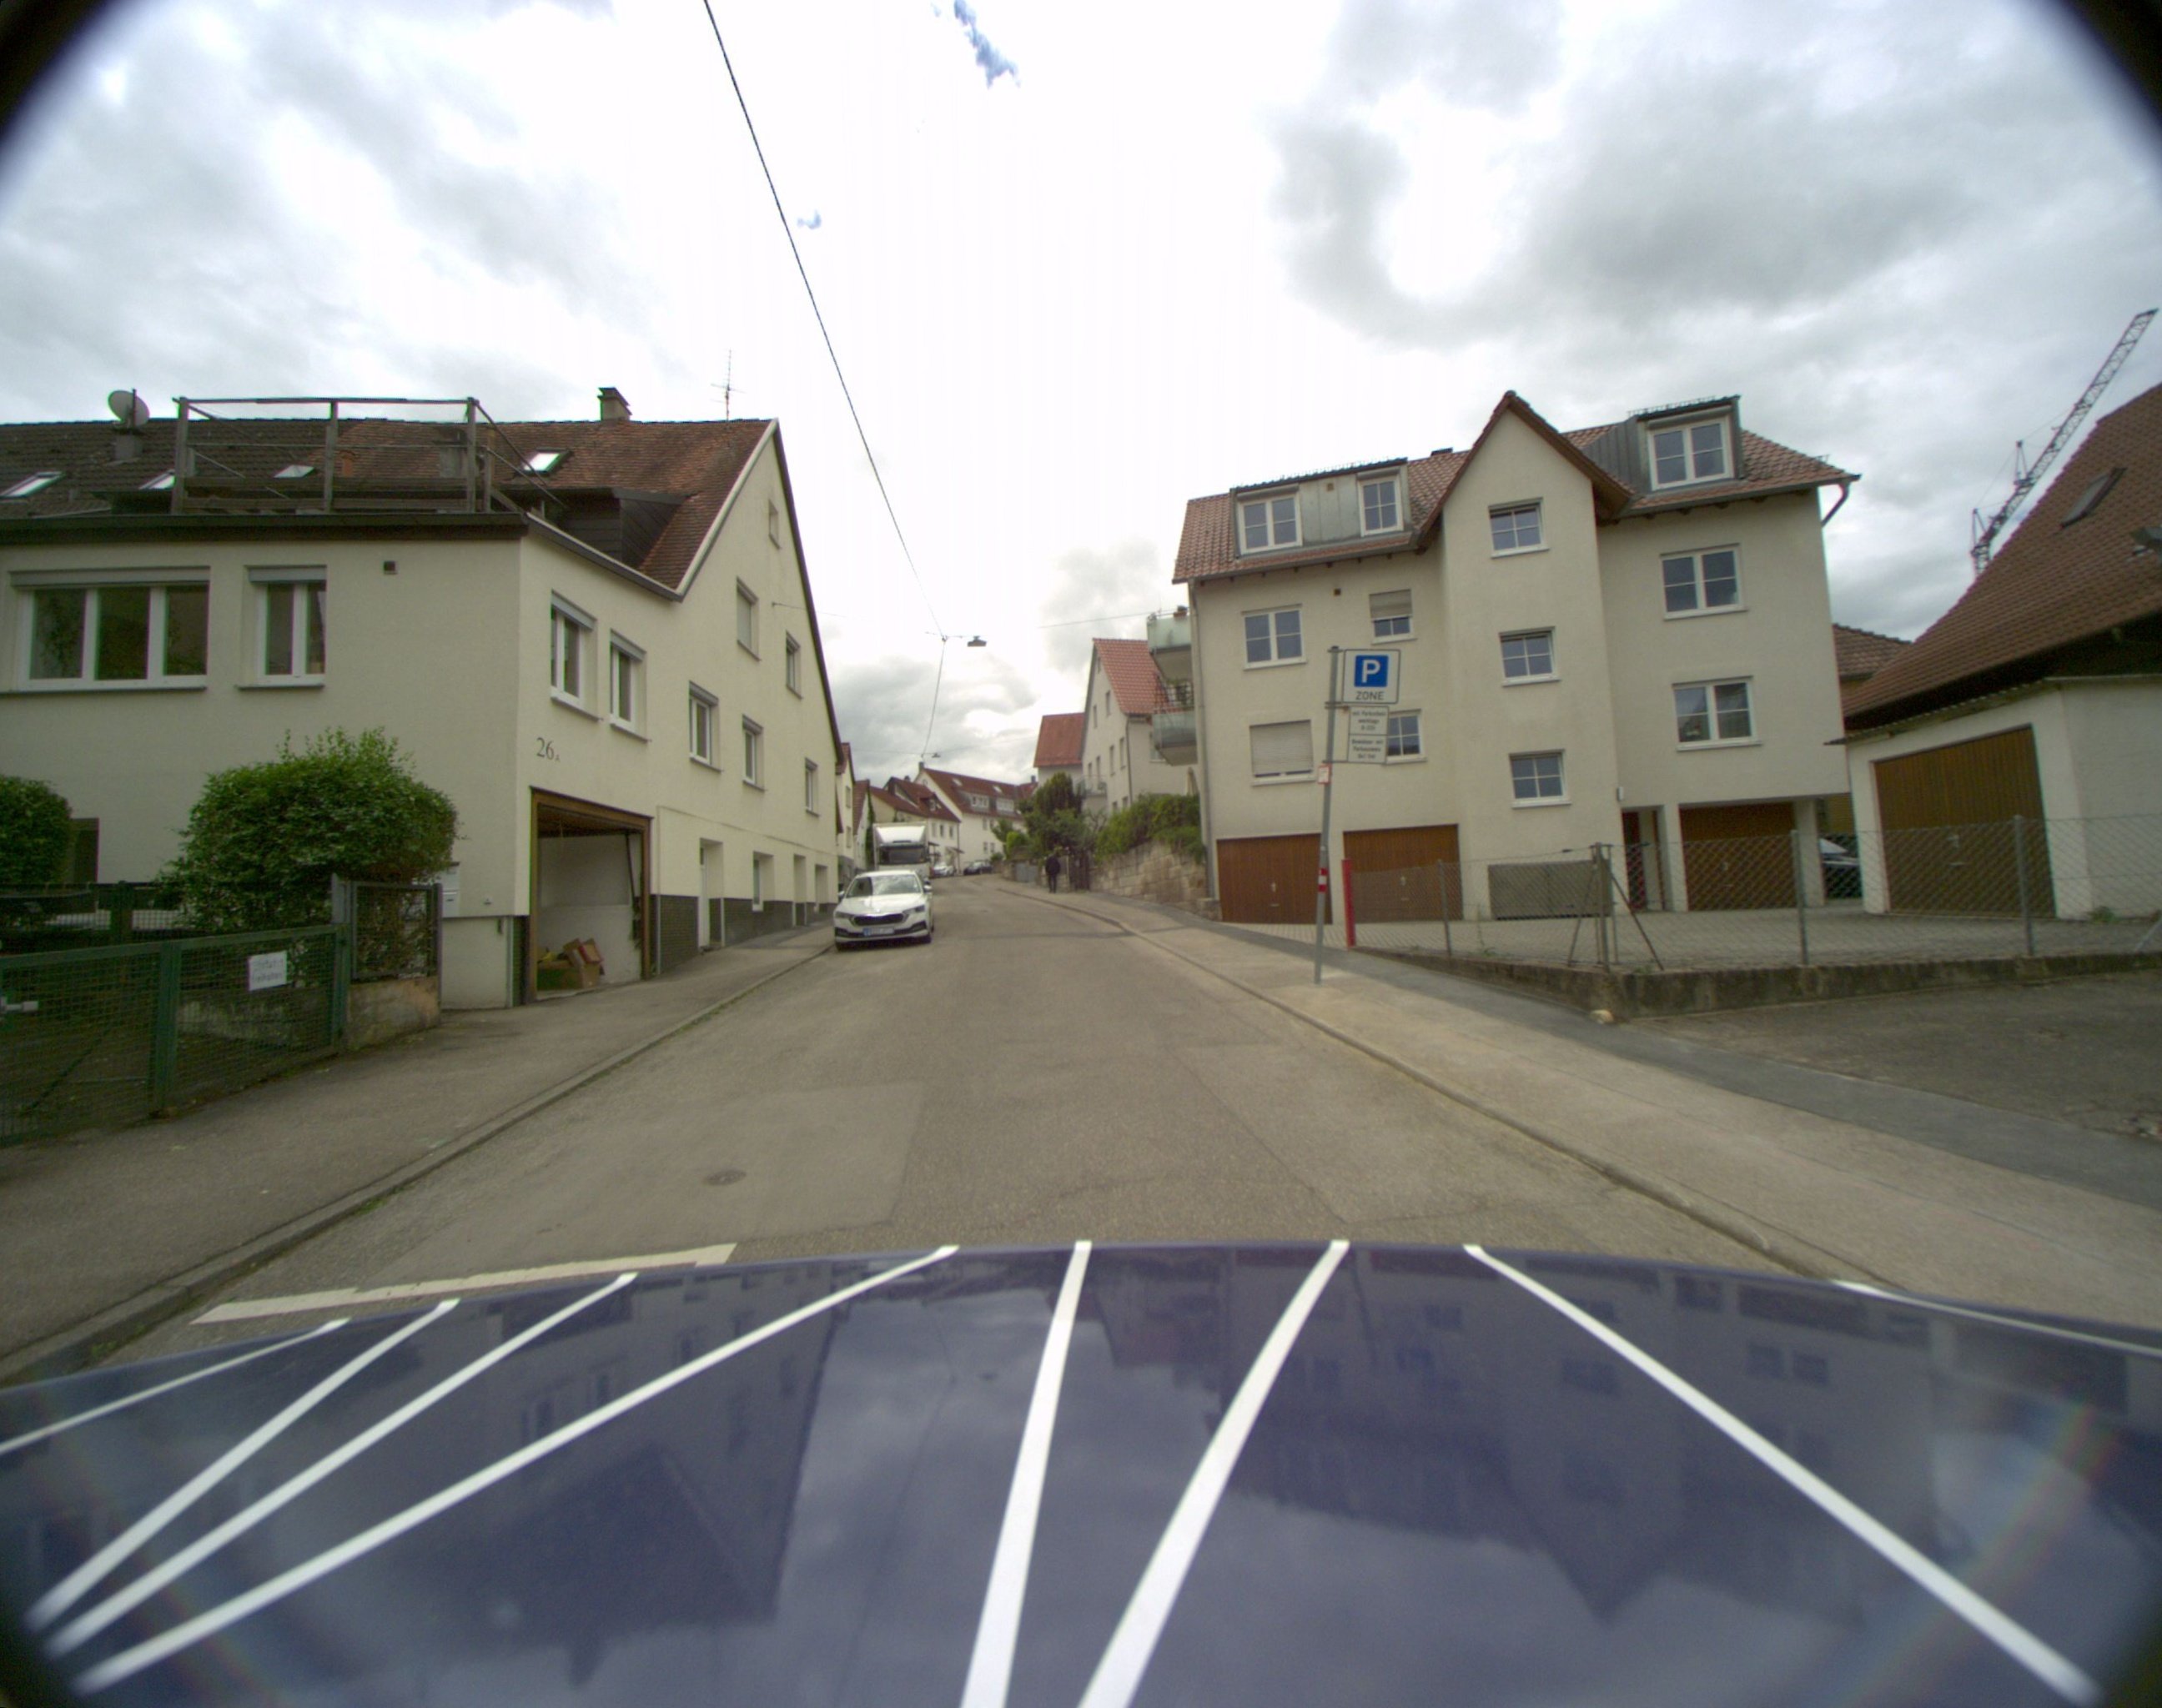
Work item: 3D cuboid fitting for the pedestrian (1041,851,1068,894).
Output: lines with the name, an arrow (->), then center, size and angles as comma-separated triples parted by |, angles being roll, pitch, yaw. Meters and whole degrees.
pedestrian -> -1.120, 0.762, 31.615 | 0.843, 1.668, 0.975 | -5, 1, -13

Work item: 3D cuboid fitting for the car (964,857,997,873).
car -> -10.131, 1.097, 76.850 | 1.720, 1.398, 4.008 | -5, -2, 17

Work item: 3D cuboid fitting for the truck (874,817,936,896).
truck -> -9.135, 0.141, 38.990 | 2.686, 3.576, 8.096 | -2, 0, -15

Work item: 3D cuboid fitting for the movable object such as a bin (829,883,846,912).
movable object such as a bin -> -8.012, 1.420, 25.024 | 0.466, 0.911, 0.541 | 1, 0, -12

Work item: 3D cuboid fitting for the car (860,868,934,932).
car -> -4.930, 1.166, 20.719 | 1.679, 1.400, 4.047 | -4, 1, -11

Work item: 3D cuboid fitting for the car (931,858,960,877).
car -> -12.260, 1.179, 69.120 | 1.614, 1.523, 2.899 | -6, -1, 8

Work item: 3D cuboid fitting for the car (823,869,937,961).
car -> -4.016, 1.127, 15.819 | 1.800, 1.437, 4.294 | -4, 1, -9
